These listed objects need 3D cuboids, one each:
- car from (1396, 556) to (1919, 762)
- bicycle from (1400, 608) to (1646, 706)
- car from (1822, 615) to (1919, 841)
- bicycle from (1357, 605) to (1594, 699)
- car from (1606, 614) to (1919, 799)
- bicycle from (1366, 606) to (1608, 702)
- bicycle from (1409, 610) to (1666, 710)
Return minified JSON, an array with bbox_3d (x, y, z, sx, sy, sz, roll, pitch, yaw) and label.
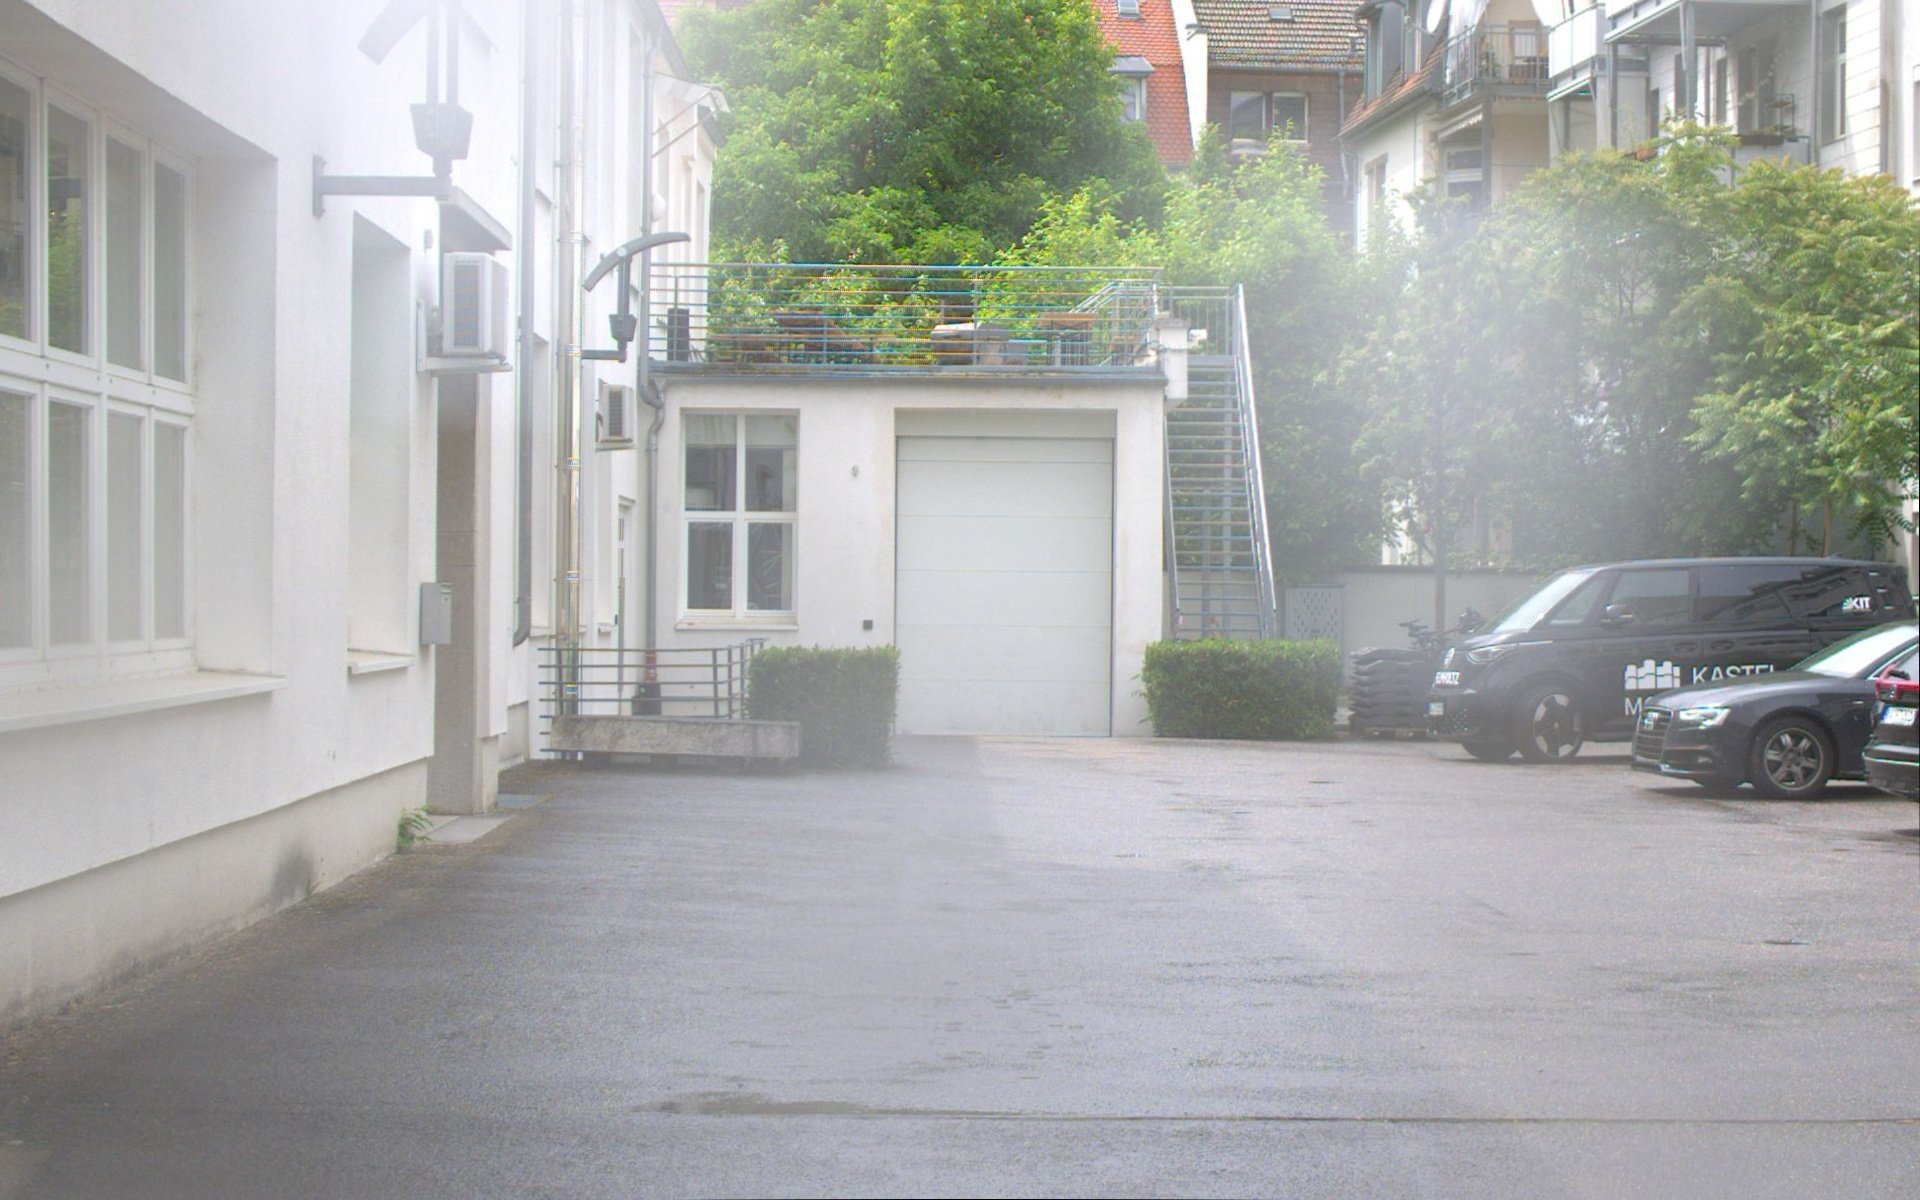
[{"bbox_3d":[6.713,0.525,32.681,4.708,1.827,2.111,-1,0,-7],"label":"car"},{"bbox_3d":[6.853,0.693,41.926,2.843,1.074,0.689,2,1,-3],"label":"bicycle"},{"bbox_3d":[7.955,0.785,22.254,4.169,1.396,1.940,0,0,-7],"label":"car"},{"bbox_3d":[6.489,0.650,43.346,2.843,1.074,0.689,2,1,-3],"label":"bicycle"},{"bbox_3d":[7.452,0.796,26.870,4.352,1.344,1.861,0,1,-7],"label":"car"},{"bbox_3d":[6.525,0.667,42.632,2.843,1.074,0.689,2,1,-3],"label":"bicycle"},{"bbox_3d":[6.903,0.712,41.148,2.923,1.074,0.689,2,1,-3],"label":"bicycle"}]
